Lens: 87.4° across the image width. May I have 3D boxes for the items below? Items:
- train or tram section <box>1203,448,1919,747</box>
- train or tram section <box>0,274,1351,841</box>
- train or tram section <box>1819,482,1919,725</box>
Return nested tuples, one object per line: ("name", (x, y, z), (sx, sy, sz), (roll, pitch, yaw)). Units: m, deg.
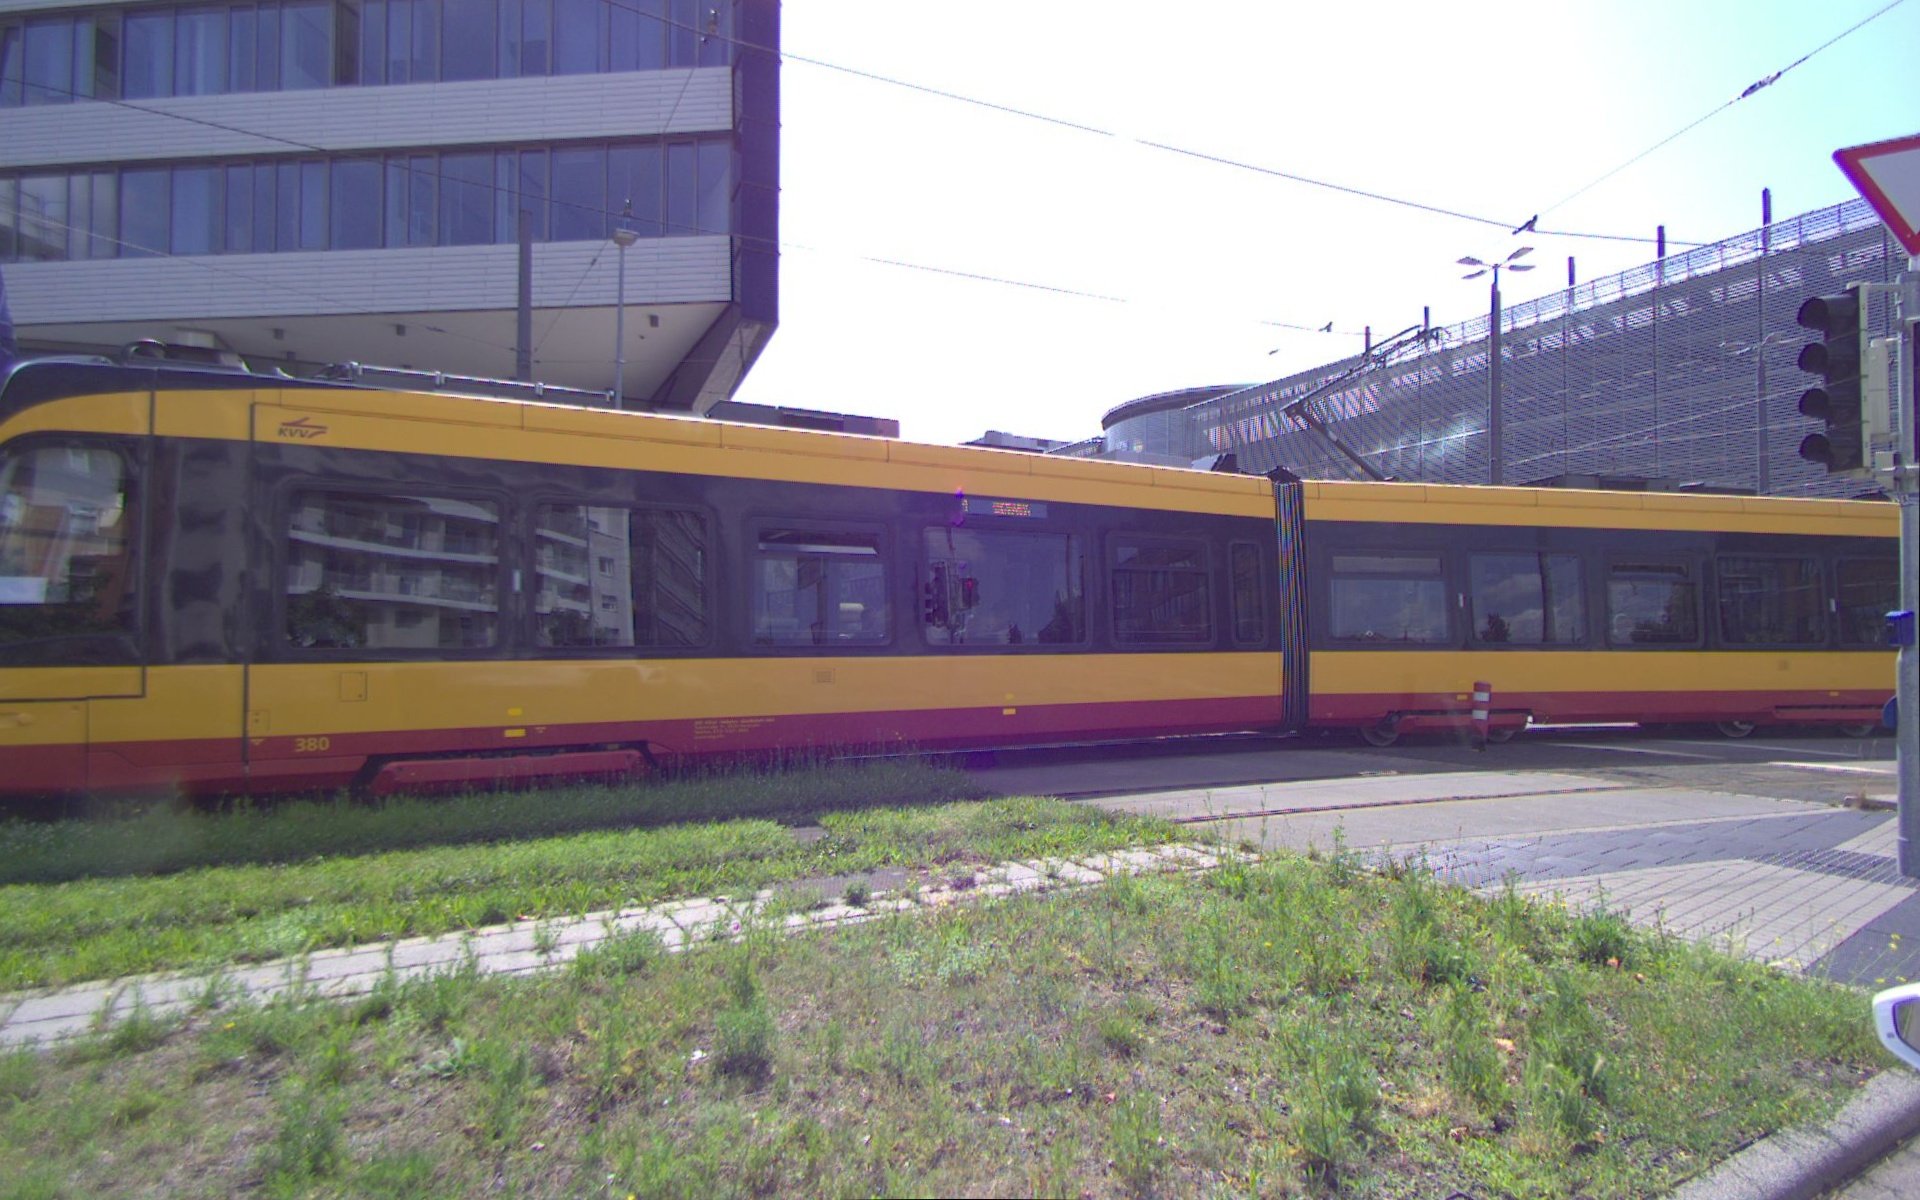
("train or tram section", (9.290, 0.058, 14.791), (10.797, 3.650, 3.060), (0, -3, -11))
("train or tram section", (-1.830, -0.100, 10.605), (13.331, 3.646, 3.204), (1, -3, -28))
("train or tram section", (20.745, 0.001, 14.711), (12.379, 3.668, 3.068), (-1, -3, 11))
